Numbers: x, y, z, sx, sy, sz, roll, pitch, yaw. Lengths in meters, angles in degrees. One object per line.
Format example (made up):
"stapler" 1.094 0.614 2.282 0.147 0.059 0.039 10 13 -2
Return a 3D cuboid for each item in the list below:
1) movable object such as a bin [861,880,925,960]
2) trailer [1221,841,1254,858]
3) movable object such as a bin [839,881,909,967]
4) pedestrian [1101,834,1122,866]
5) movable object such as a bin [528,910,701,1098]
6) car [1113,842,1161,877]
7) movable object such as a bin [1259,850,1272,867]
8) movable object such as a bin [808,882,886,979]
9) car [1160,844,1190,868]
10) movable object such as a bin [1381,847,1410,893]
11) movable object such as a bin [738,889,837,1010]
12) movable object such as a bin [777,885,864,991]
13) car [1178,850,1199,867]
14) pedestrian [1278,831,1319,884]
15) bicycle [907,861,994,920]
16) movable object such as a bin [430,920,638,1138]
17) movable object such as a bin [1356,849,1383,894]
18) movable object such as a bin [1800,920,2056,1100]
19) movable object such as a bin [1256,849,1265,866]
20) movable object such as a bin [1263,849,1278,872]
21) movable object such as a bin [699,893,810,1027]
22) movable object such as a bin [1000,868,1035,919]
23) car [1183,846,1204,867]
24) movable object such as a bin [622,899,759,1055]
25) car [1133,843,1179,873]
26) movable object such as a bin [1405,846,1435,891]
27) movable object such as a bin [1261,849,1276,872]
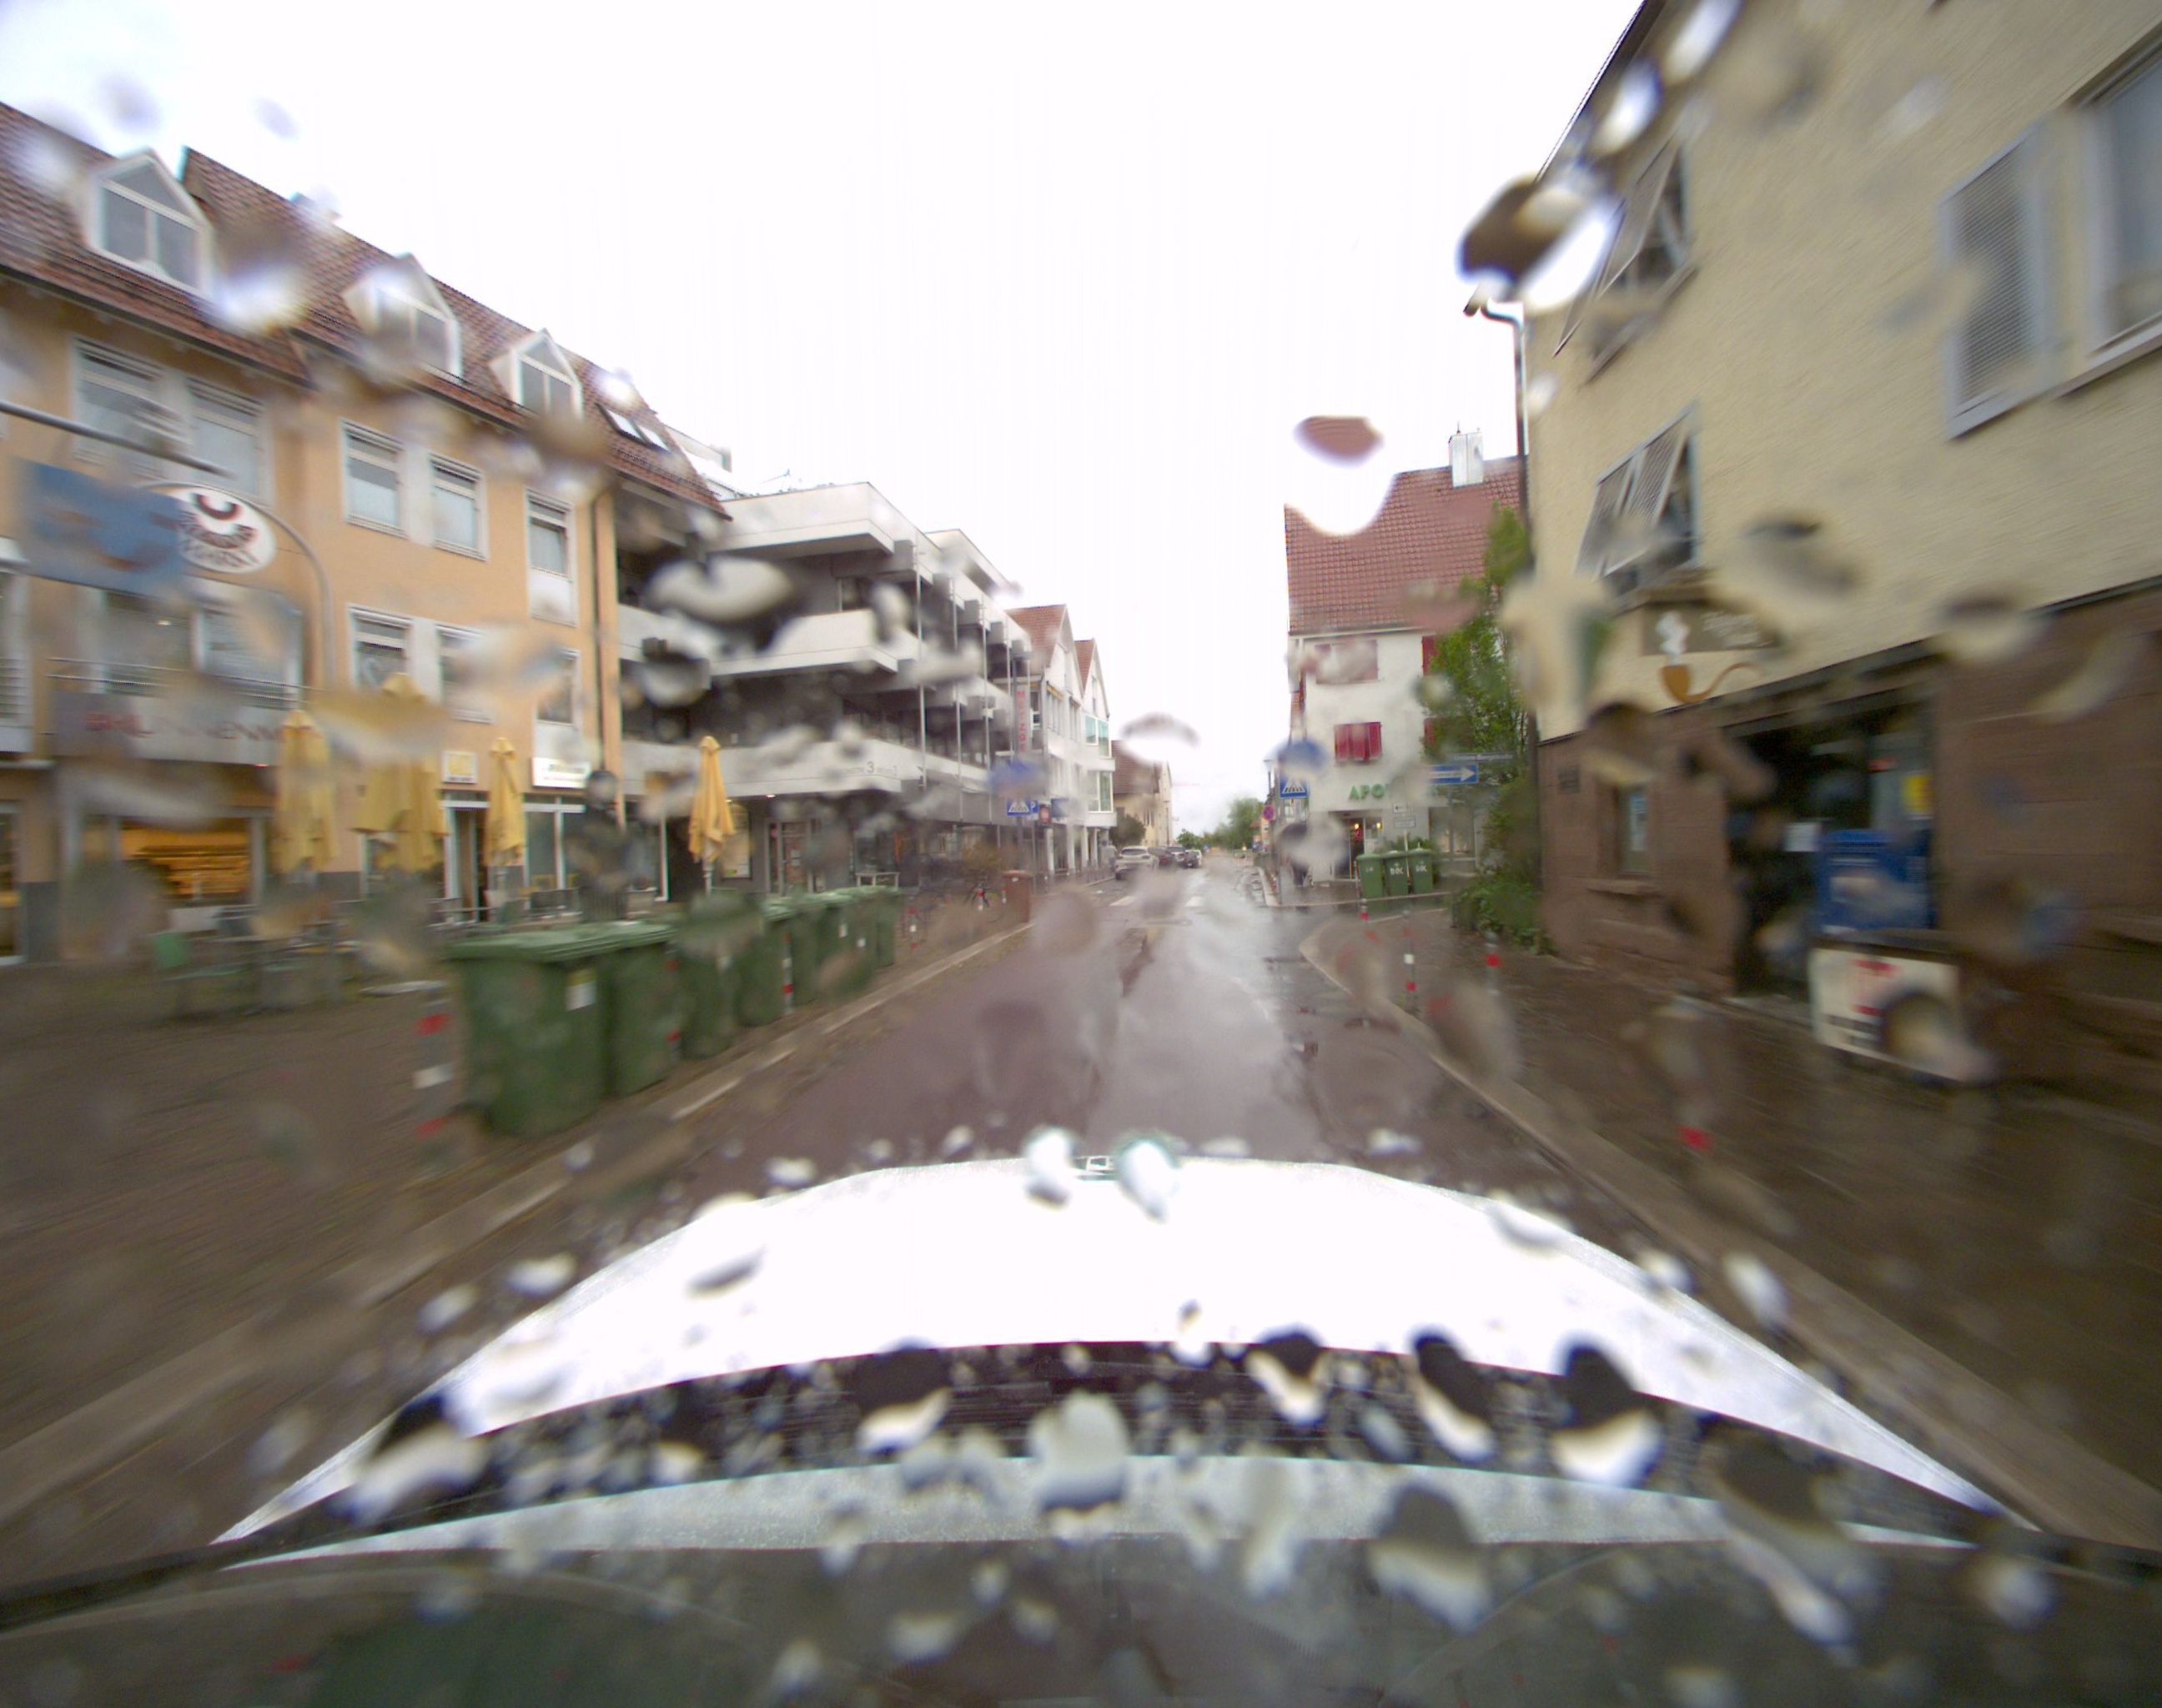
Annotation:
"movable object such as a bin" -2.595 0.898 11.301 0.683 1.039 0.670 -1 0 3
"trailer" 29.141 -0.762 151.794 5.751 2.948 2.003 -1 -2 6
"movable object such as a bin" -2.676 0.888 10.567 0.683 1.042 0.670 -1 0 3
"pedestrian" 1.779 -0.231 48.108 1.028 1.806 1.120 -1 0 12
"movable object such as a bin" -3.032 0.947 5.356 0.683 1.087 0.713 -1 0 3
"car" 2.751 0.224 39.096 1.780 1.550 4.013 0 1 11
"movable object such as a bin" 12.262 0.293 54.081 0.799 1.131 0.865 -2 -2 10
"movable object such as a bin" -2.783 0.891 9.726 0.683 1.076 0.670 -1 0 3
"car" 6.653 0.188 57.232 1.769 1.569 4.420 -2 -1 10
"movable object such as a bin" 7.599 0.391 19.707 0.497 1.056 0.550 -4 -2 11
"movable object such as a bin" -2.903 0.928 8.106 0.683 1.105 0.670 -1 0 3
"movable object such as a bin" -2.840 0.897 8.931 0.683 1.074 0.670 -1 0 3
"car" 9.302 0.379 70.425 1.671 1.389 3.834 -2 -1 8
"pedestrian" 7.388 0.127 27.744 1.170 1.697 1.180 -3 0 9
"bicycle" -2.704 0.758 16.912 1.745 1.164 0.443 -1 -2 -8
"movable object such as a bin" -3.070 0.953 4.631 0.683 1.078 0.678 -1 0 3
"movable object such as a bin" 7.024 0.432 19.833 0.497 1.056 0.550 -4 -2 11
"movable object such as a bin" 4.843 0.857 4.730 0.543 0.836 0.911 -4 0 6
"movable object such as a bin" 13.842 0.257 62.843 0.633 1.290 0.635 -2 -2 16
"movable object such as a bin" 9.021 0.316 38.736 0.671 1.086 0.720 -2 -1 13
"movable object such as a bin" -2.938 0.936 7.379 0.683 1.105 0.670 -1 0 3
"movable object such as a bin" -1.321 0.818 16.991 0.685 1.020 0.631 -1 0 -6
"car" 10.549 0.253 76.077 1.713 1.825 4.440 -2 -1 9
"movable object such as a bin" -2.981 0.918 6.272 0.683 1.081 0.670 -1 0 3
"car" 4.192 0.200 44.632 1.818 1.498 4.780 -3 0 13
"movable object such as a bin" 8.155 0.346 19.609 0.497 1.056 0.550 -4 -2 11
"movable object such as a bin" 9.108 0.317 39.484 0.671 1.084 0.700 -2 -1 13
